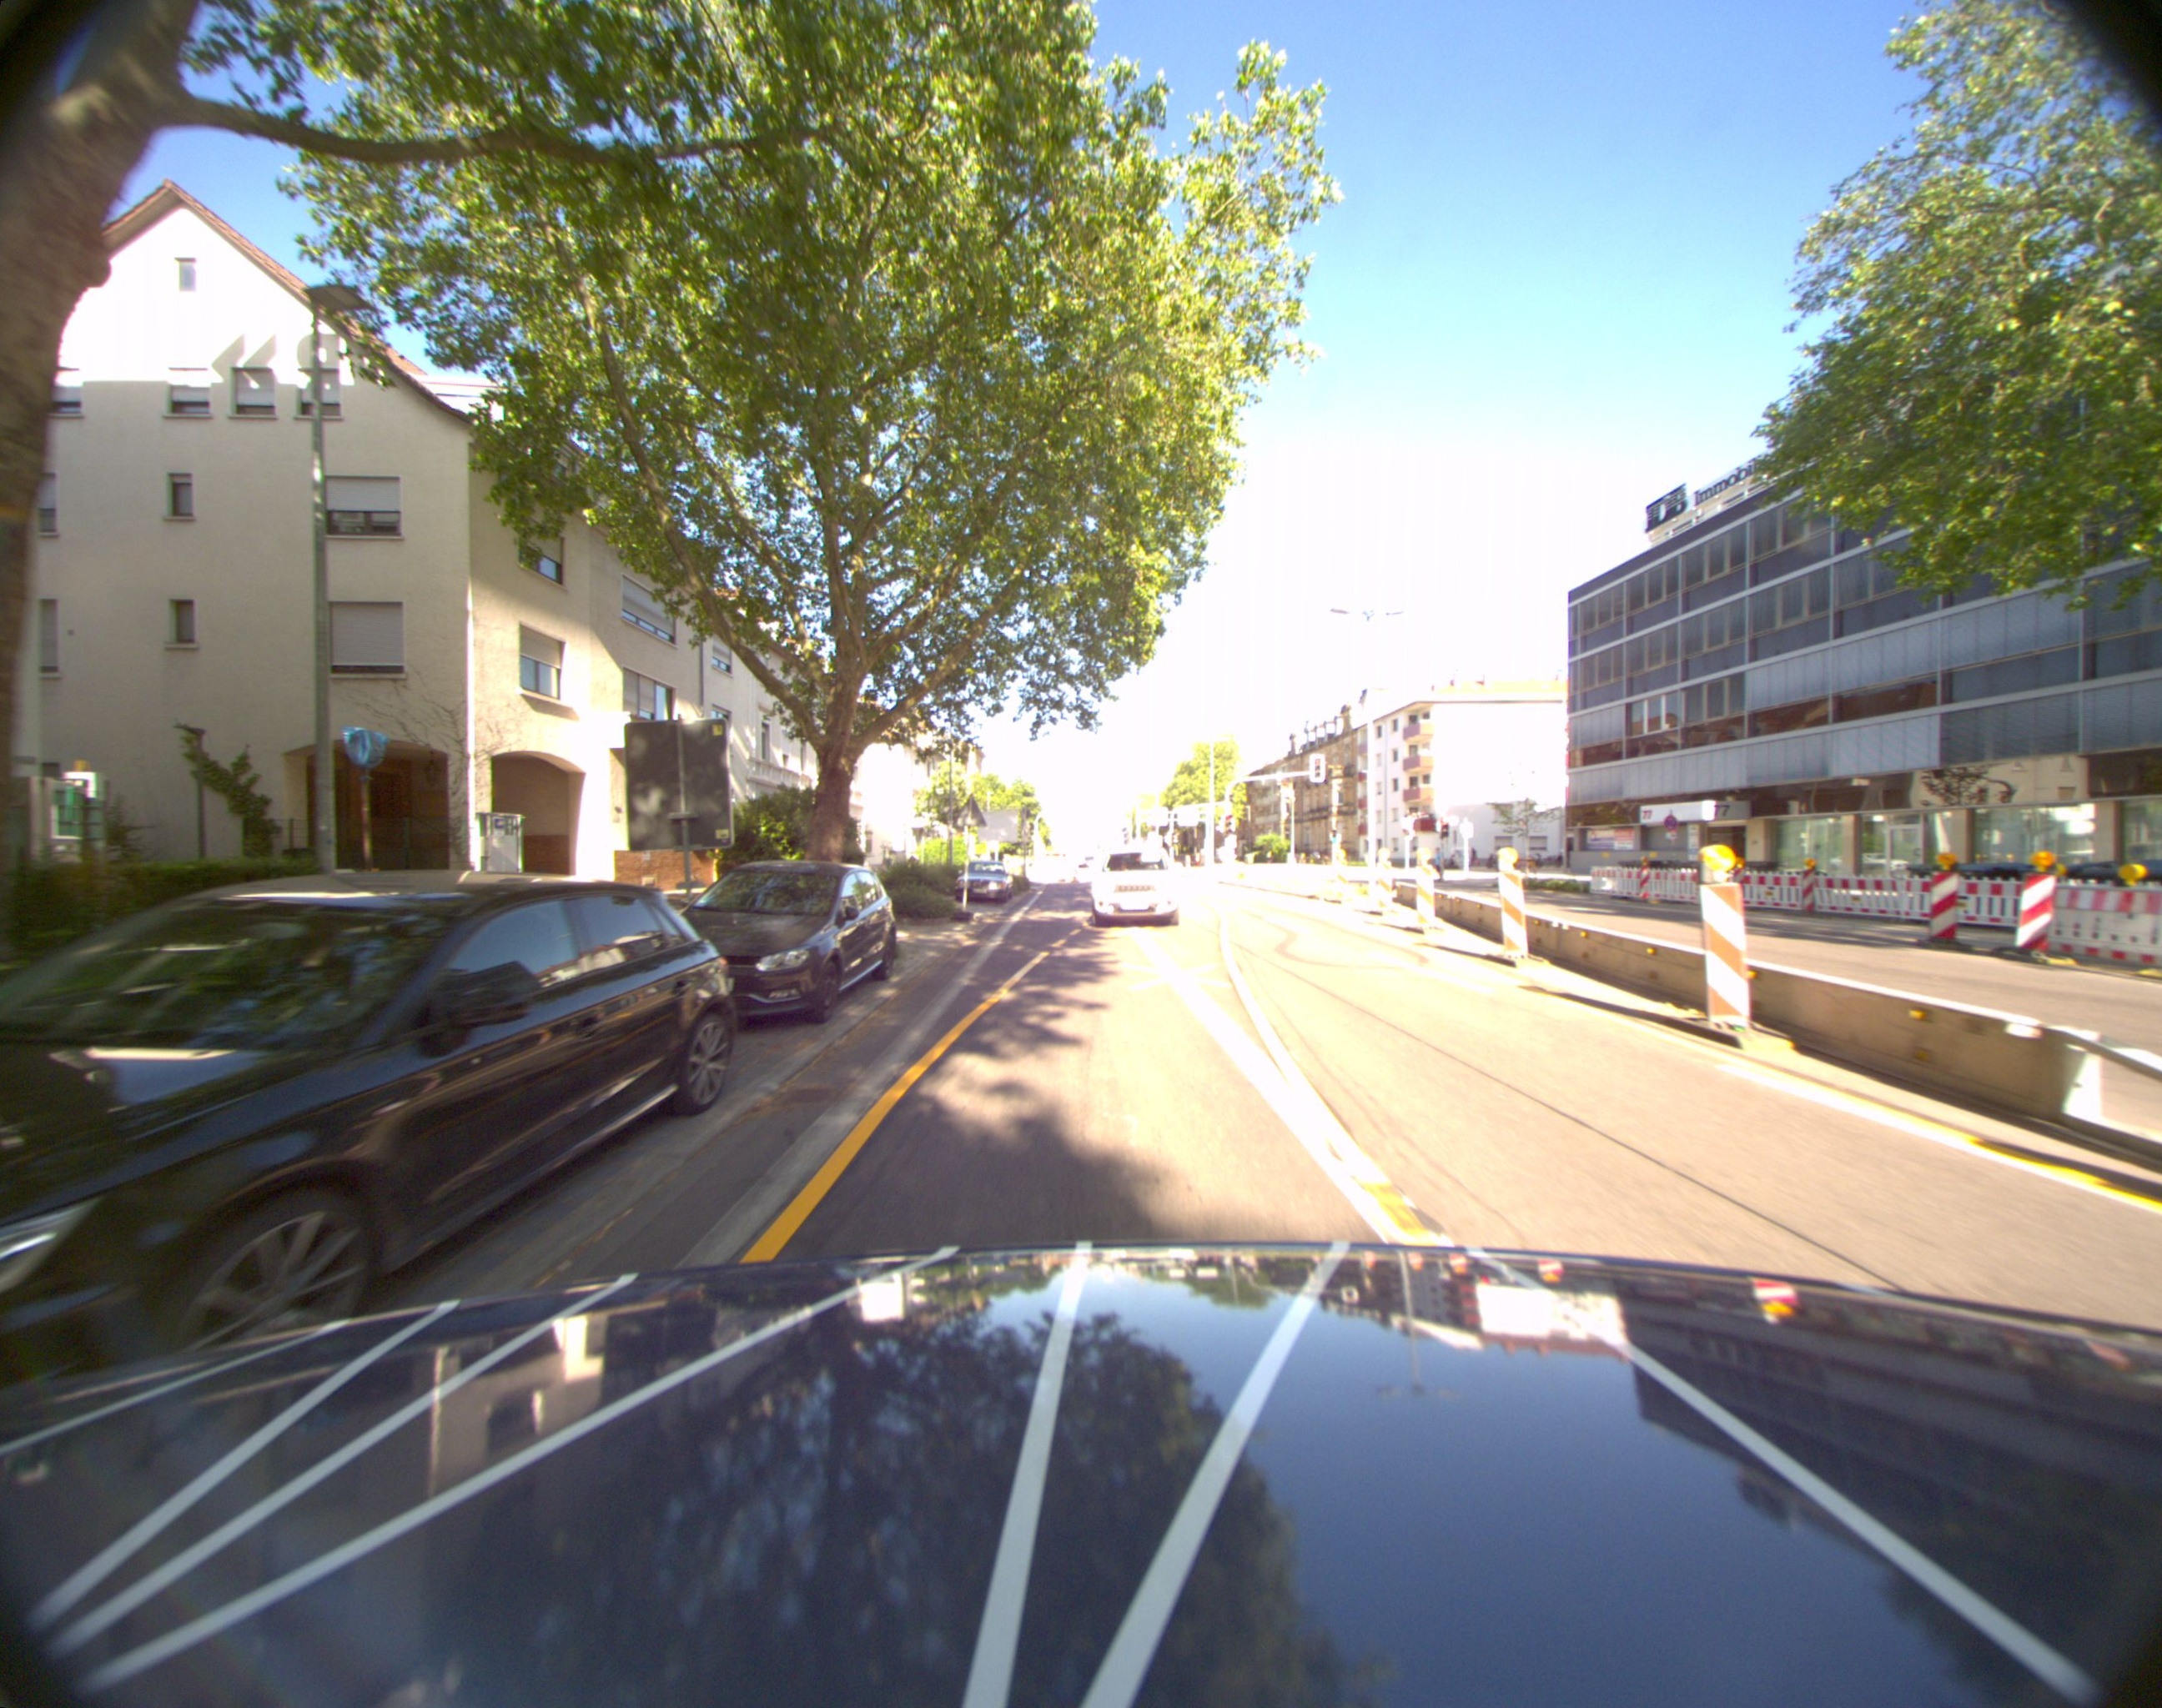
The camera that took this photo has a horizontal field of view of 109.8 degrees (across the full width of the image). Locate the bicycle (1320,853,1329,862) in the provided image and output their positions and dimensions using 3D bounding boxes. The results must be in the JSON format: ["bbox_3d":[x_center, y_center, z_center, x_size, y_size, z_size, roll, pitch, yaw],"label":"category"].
[{"bbox_3d":[25.607,0.354,79.986,0.305,0.952,1.940,0,0,0],"label":"bicycle"}]

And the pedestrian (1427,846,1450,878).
[{"bbox_3d":[19.474,0.423,41.388,0.866,1.701,1.013,-1,0,6],"label":"pedestrian"}]

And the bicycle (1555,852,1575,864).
[{"bbox_3d":[37.046,0.298,58.135,0.459,0.942,1.723,-1,0,1],"label":"bicycle"}]

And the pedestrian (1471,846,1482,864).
[{"bbox_3d":[32.687,0.083,62.827,0.601,1.488,0.694,-1,1,3],"label":"pedestrian"}]

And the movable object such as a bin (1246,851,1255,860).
[{"bbox_3d":[24.401,0.240,109.300,0.895,1.352,1.474,1,-1,0],"label":"movable object such as a bin"}]

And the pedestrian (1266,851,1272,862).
[{"bbox_3d":[24.653,0.294,99.599,0.568,1.370,1.089,0,1,-3],"label":"pedestrian"}]

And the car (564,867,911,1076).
[{"bbox_3d":[-3.146,0.957,8.054,1.768,1.499,4.250,-1,0,-1],"label":"car"}]

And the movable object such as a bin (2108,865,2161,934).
[{"bbox_3d":[20.782,0.868,14.243,0.982,1.263,1.540,-1,0,-1],"label":"movable object such as a bin"}]

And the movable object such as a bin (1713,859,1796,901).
[{"bbox_3d":[20.297,0.771,22.930,1.397,1.196,1.241,-1,1,2],"label":"movable object such as a bin"}]

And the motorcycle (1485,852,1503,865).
[{"bbox_3d":[31.996,0.355,58.888,0.504,0.931,1.843,-1,0,6],"label":"motorcycle"}]

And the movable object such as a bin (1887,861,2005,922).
[{"bbox_3d":[20.051,0.850,17.658,1.413,1.330,1.157,-1,1,1],"label":"movable object such as a bin"}]

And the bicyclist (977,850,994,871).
[{"bbox_3d":[-6.732,0.458,53.524,0.724,1.491,0.873,1,2,32],"label":"bicyclist"}]

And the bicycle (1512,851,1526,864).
[{"bbox_3d":[33.649,0.287,58.377,0.507,0.972,1.887,-1,0,16],"label":"bicycle"}]

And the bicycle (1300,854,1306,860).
[{"bbox_3d":[25.526,0.354,87.388,0.299,0.766,1.414,-1,0,0],"label":"bicycle"}]

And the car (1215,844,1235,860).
[{"bbox_3d":[23.160,-0.330,122.534,2.250,2.431,5.288,1,-1,0],"label":"car"}]

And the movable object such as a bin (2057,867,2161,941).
[{"bbox_3d":[19.763,0.904,14.233,0.982,1.263,1.540,-1,0,-1],"label":"movable object such as a bin"}]

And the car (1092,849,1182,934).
[{"bbox_3d":[1.169,0.737,16.860,1.743,1.648,3.690,-1,0,2],"label":"car"}]

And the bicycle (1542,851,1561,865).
[{"bbox_3d":[36.208,0.293,58.454,0.509,0.997,1.737,-1,0,4],"label":"bicycle"}]

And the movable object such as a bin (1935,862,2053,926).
[{"bbox_3d":[19.873,0.846,16.569,1.413,1.330,0.936,-1,1,1],"label":"movable object such as a bin"}]

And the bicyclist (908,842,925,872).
[{"bbox_3d":[-9.799,0.175,45.368,0.726,1.810,1.070,-1,1,0],"label":"bicyclist"}]

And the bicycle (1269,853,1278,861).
[{"bbox_3d":[25.166,0.379,99.570,0.468,0.999,2.250,-2,0,-2],"label":"bicycle"}]

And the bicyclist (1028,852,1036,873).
[{"bbox_3d":[-4.100,0.711,64.201,0.605,1.698,0.858,-1,0,-1],"label":"bicyclist"}]

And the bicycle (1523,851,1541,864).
[{"bbox_3d":[36.353,0.282,61.223,0.575,1.052,1.691,-1,0,4],"label":"bicycle"}]

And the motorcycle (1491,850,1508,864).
[{"bbox_3d":[33.071,0.220,60.064,0.612,1.135,1.784,-1,0,8],"label":"motorcycle"}]

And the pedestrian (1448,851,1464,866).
[{"bbox_3d":[29.068,0.318,58.899,0.720,1.146,0.788,-1,1,-13],"label":"pedestrian"}]

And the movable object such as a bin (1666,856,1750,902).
[{"bbox_3d":[20.313,0.783,24.669,1.217,1.380,1.855,-1,0,1],"label":"movable object such as a bin"}]

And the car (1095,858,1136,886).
[{"bbox_3d":[1.871,0.955,42.431,1.999,1.426,4.873,-1,1,-1],"label":"car"}]

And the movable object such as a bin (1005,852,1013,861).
[{"bbox_3d":[-11.364,0.329,119.832,0.975,1.389,1.285,2,-1,-24],"label":"movable object such as a bin"}]

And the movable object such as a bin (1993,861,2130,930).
[{"bbox_3d":[20.001,0.832,15.537,1.413,1.330,1.068,-1,1,1],"label":"movable object such as a bin"}]

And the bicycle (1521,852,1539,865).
[{"bbox_3d":[34.218,0.337,57.979,0.478,0.942,1.952,-1,0,8],"label":"bicycle"}]

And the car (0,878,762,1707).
[{"bbox_3d":[-2.990,0.965,3.065,1.662,1.531,4.127,-2,0,-1],"label":"car"}]

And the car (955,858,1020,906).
[{"bbox_3d":[-3.254,0.933,27.279,1.857,1.471,4.940,-1,0,-2],"label":"car"}]

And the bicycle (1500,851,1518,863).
[{"bbox_3d":[34.473,0.265,61.209,0.575,0.963,1.737,-1,0,4],"label":"bicycle"}]

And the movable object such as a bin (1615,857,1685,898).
[{"bbox_3d":[20.187,0.807,27.004,1.117,1.380,1.855,-1,0,1],"label":"movable object such as a bin"}]

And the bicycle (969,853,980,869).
[{"bbox_3d":[-10.170,0.670,72.566,0.710,1.435,2.491,-2,0,-2],"label":"bicycle"}]

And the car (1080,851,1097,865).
[{"bbox_3d":[0.997,0.563,98.884,1.999,1.761,4.000,-2,0,-2],"label":"car"}]

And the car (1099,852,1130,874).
[{"bbox_3d":[2.349,0.622,54.279,1.999,1.426,4.873,-1,1,-1],"label":"car"}]

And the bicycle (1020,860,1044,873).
[{"bbox_3d":[-4.150,1.061,64.258,1.967,1.019,0.605,-2,0,-1],"label":"bicycle"}]

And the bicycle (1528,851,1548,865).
[{"bbox_3d":[35.134,0.303,58.436,0.490,1.062,1.736,-1,0,2],"label":"bicycle"}]
